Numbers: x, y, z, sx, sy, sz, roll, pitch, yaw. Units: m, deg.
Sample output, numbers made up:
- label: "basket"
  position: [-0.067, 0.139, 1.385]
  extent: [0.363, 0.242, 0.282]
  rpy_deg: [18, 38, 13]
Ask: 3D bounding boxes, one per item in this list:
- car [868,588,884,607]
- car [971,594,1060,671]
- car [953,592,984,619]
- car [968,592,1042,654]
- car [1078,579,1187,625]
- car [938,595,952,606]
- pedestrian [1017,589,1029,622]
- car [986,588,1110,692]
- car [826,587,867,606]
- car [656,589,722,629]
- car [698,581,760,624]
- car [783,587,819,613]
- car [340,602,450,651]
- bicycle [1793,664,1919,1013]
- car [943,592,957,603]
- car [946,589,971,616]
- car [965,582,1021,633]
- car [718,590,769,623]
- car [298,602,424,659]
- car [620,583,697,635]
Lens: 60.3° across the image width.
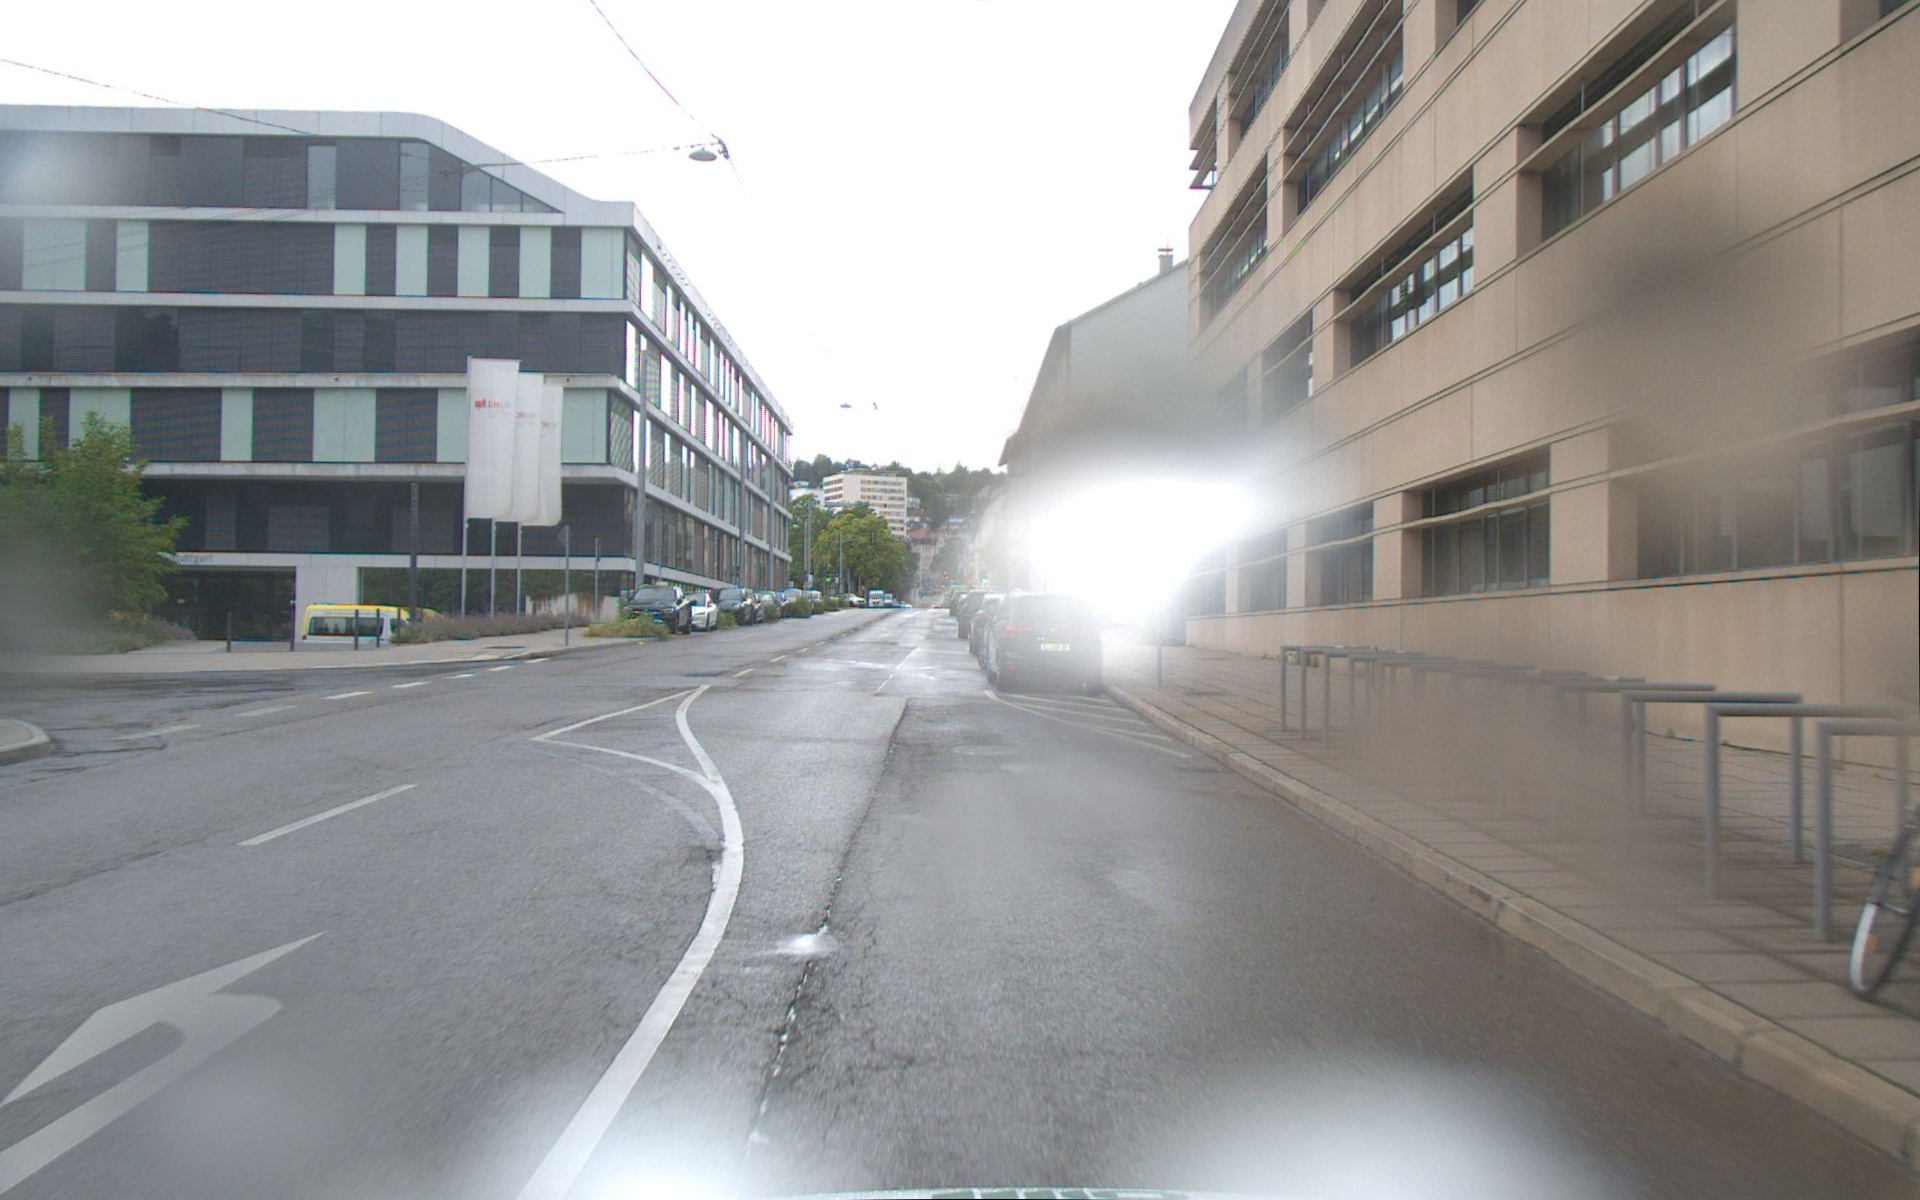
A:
- label: "car"
  position: [-11.330, -0.325, 223.518]
  extent: [2.063, 2.591, 4.748]
  rpy_deg: [1, 0, -3]
- label: "car"
  position: [1.185, 0.702, 36.838]
  extent: [1.690, 1.539, 4.056]
  rpy_deg: [3, 0, -1]
- label: "car"
  position: [0.494, 0.293, 95.892]
  extent: [1.671, 1.479, 3.984]
  rpy_deg: [1, 0, -1]
- label: "car"
  position: [1.171, 0.589, 44.635]
  extent: [1.708, 1.560, 4.317]
  rpy_deg: [1, 0, -2]
- label: "car"
  position: [7.287, 0.093, 70.242]
  extent: [4.348, 1.742, 1.904]
  rpy_deg: [-2, 0, -2]
- label: "car"
  position: [-2.224, 0.112, 246.267]
  extent: [1.828, 1.632, 4.190]
  rpy_deg: [1, 0, 2]
- label: "pedestrian"
  position: [3.671, 0.297, 96.435]
  extent: [0.626, 1.903, 0.538]
  rpy_deg: [1, 0, 1]
- label: "car"
  position: [1.444, 0.641, 28.765]
  extent: [1.735, 1.632, 4.392]
  rpy_deg: [1, 0, -2]
- label: "car"
  position: [-11.498, -0.342, 166.791]
  extent: [4.125, 1.698, 1.632]
  rpy_deg: [-2, -5, 39]
- label: "car"
  position: [-10.320, 0.320, 63.260]
  extent: [1.784, 1.443, 4.401]
  rpy_deg: [1, 0, -1]
- label: "car"
  position: [-10.198, 0.100, 73.407]
  extent: [1.922, 1.780, 4.943]
  rpy_deg: [1, 0, 2]
- label: "car"
  position: [-10.627, 0.027, 110.726]
  extent: [1.764, 1.632, 4.235]
  rpy_deg: [1, 0, 2]
- label: "car"
  position: [-24.811, 1.155, 72.711]
  extent: [4.254, 2.068, 1.598]
  rpy_deg: [1, 0, -1]
- label: "bicycle"
  position: [3.993, 0.815, 5.955]
  extent: [1.696, 1.138, 0.659]
  rpy_deg: [0, 0, -6]
- label: "car"
  position: [-1.466, -0.341, 238.112]
  extent: [1.828, 1.632, 4.190]
  rpy_deg: [1, 0, 2]
- label: "car"
  position: [-0.117, 0.163, 116.417]
  extent: [1.621, 1.768, 4.179]
  rpy_deg: [1, 1, -1]
- label: "car"
  position: [1.178, 0.260, 61.511]
  extent: [1.896, 1.780, 4.796]
  rpy_deg: [1, 0, -1]
- label: "car"
  position: [-10.359, 0.293, 79.355]
  extent: [1.833, 1.498, 4.740]
  rpy_deg: [1, 0, -1]
- label: "car"
  position: [-24.819, 1.258, 68.666]
  extent: [4.502, 2.212, 1.928]
  rpy_deg: [1, 0, -7]
- label: "car"
  position: [-10.266, 0.292, 56.558]
  extent: [1.812, 1.646, 4.490]
  rpy_deg: [1, 0, -1]
